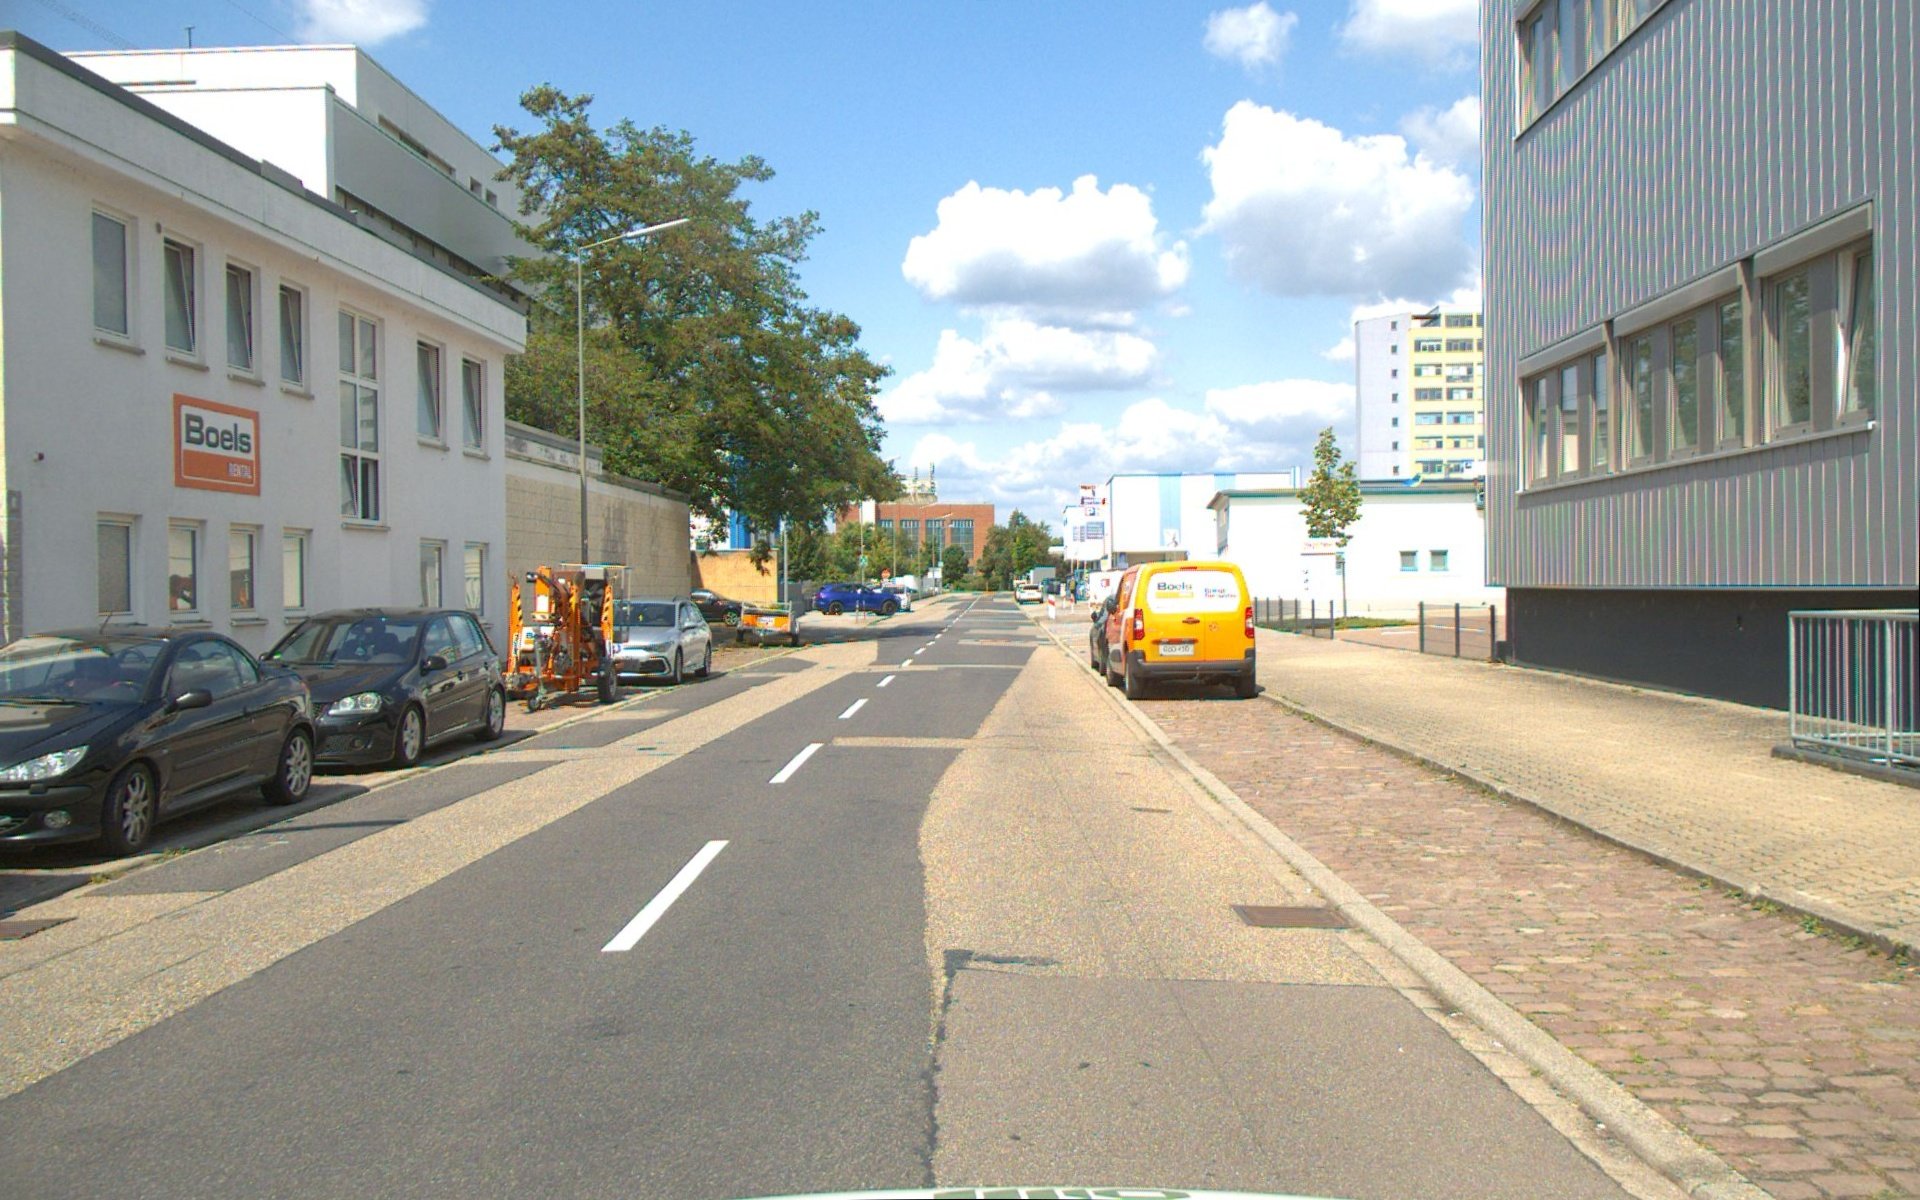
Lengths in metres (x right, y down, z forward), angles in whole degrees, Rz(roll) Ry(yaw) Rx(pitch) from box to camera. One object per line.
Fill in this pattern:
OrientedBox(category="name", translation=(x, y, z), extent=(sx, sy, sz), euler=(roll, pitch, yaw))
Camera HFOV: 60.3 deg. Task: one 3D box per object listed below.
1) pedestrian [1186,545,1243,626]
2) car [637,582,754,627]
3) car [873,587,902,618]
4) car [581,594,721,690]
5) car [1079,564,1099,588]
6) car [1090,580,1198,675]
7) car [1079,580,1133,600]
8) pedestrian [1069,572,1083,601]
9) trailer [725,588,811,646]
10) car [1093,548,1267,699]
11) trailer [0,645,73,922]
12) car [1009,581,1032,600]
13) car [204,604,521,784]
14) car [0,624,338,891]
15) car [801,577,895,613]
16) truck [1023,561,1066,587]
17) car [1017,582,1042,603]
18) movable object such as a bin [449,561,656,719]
OrientedBox(category="pedestrian", translation=(6.489, -0.374, 42.151), extent=(0.976, 1.985, 1.084), euler=(-2, 1, -21))
OrientedBox(category="car", translation=(-9.807, 0.154, 61.445), extent=(3.910, 1.385, 1.795), euler=(4, 1, 4))
OrientedBox(category="car", translation=(-4.221, 0.119, 96.694), extent=(1.651, 1.693, 3.998), euler=(0, 1, -3))
OrientedBox(category="car", translation=(-5.295, 0.666, 28.865), extent=(1.639, 1.480, 4.513), euler=(0, 1, -1))
OrientedBox(category="car", translation=(13.723, -2.546, 176.018), extent=(1.884, 2.507, 5.261), euler=(-1, 1, 1))
OrientedBox(category="car", translation=(3.323, 0.447, 30.434), extent=(1.625, 1.585, 4.179), euler=(1, 1, 2))
OrientedBox(category="car", translation=(11.720, -0.806, 133.117), extent=(4.190, 1.444, 2.001), euler=(-2, 1, 2))
OrientedBox(category="pedestrian", translation=(7.308, -0.862, 104.263), extent=(0.753, 1.787, 0.787), euler=(-3, 0, 1))
OrientedBox(category="trailer", translation=(-5.212, 0.427, 45.334), extent=(1.730, 1.464, 4.337), euler=(1, 1, 1))
OrientedBox(category="car", translation=(3.106, 0.284, 24.207), extent=(1.834, 1.925, 4.452), euler=(3, 1, -1))
OrientedBox(category="trailer", translation=(-5.805, 0.986, 6.706), extent=(1.731, 1.400, 5.051), euler=(0, 1, -1))
OrientedBox(category="car", translation=(5.080, -0.824, 139.868), extent=(1.797, 1.547, 4.462), euler=(-1, 1, 1))
OrientedBox(category="car", translation=(-5.709, 0.817, 16.370), extent=(1.639, 1.480, 4.224), euler=(0, 1, -1))
OrientedBox(category="car", translation=(-5.799, 0.922, 11.328), extent=(1.639, 1.400, 3.884), euler=(0, 1, -1))
OrientedBox(category="car", translation=(-5.824, -0.279, 85.834), extent=(4.604, 1.621, 1.910), euler=(-3, 1, -12))
OrientedBox(category="truck", translation=(12.659, -3.936, 247.747), extent=(2.279, 3.629, 9.347), euler=(1, 3, 31))
OrientedBox(category="car", translation=(5.336, -0.613, 127.268), extent=(1.829, 1.547, 4.598), euler=(-1, 1, 1))
OrientedBox(category="movable object such as a bin", translation=(-5.663, 0.458, 23.624), extent=(1.580, 1.952, 5.139), euler=(2, 1, 0))
